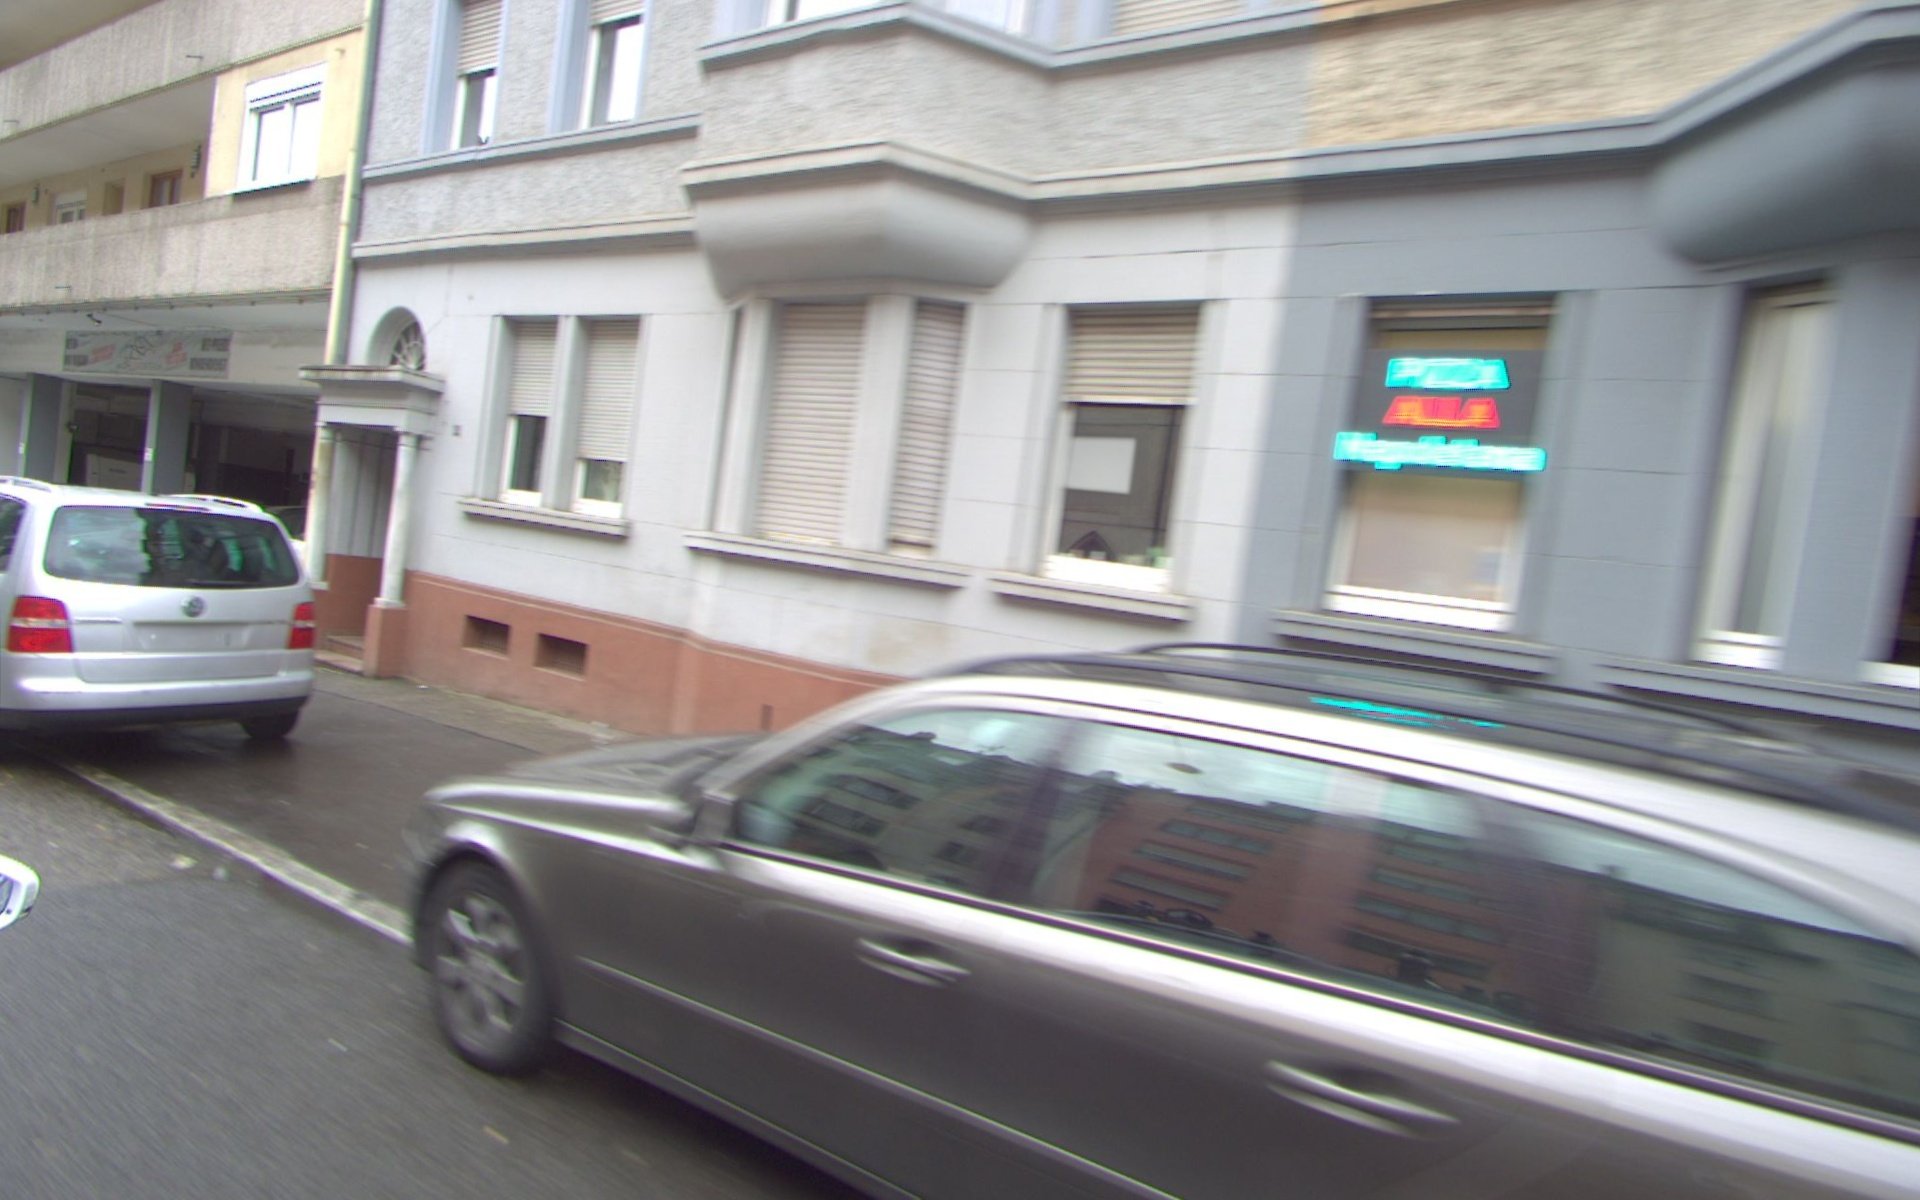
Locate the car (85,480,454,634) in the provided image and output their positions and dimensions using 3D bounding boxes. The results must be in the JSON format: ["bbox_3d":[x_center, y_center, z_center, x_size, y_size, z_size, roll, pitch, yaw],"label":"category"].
[{"bbox_3d":[-10.478,-0.593,15.501,1.883,1.748,4.315,9,2,44],"label":"car"}]

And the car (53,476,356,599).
[{"bbox_3d":[-14.063,-1.112,18.917,1.644,1.661,4.276,9,2,44],"label":"car"}]

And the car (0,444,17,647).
[{"bbox_3d":[-12.010,-0.797,10.495,4.548,2.033,1.983,7,1,32],"label":"car"}]

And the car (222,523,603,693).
[{"bbox_3d":[-7.641,0.174,14.258,4.308,1.828,1.983,7,2,-41],"label":"car"}]

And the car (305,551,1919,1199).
[{"bbox_3d":[0.222,0.817,3.040,4.720,1.498,1.899,7,3,33],"label":"car"}]

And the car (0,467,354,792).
[{"bbox_3d":[-6.304,-0.015,7.050,4.217,1.693,1.726,7,2,32],"label":"car"}]

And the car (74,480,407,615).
[{"bbox_3d":[-12.013,-0.821,17.013,1.644,1.661,4.276,9,2,44],"label":"car"}]
